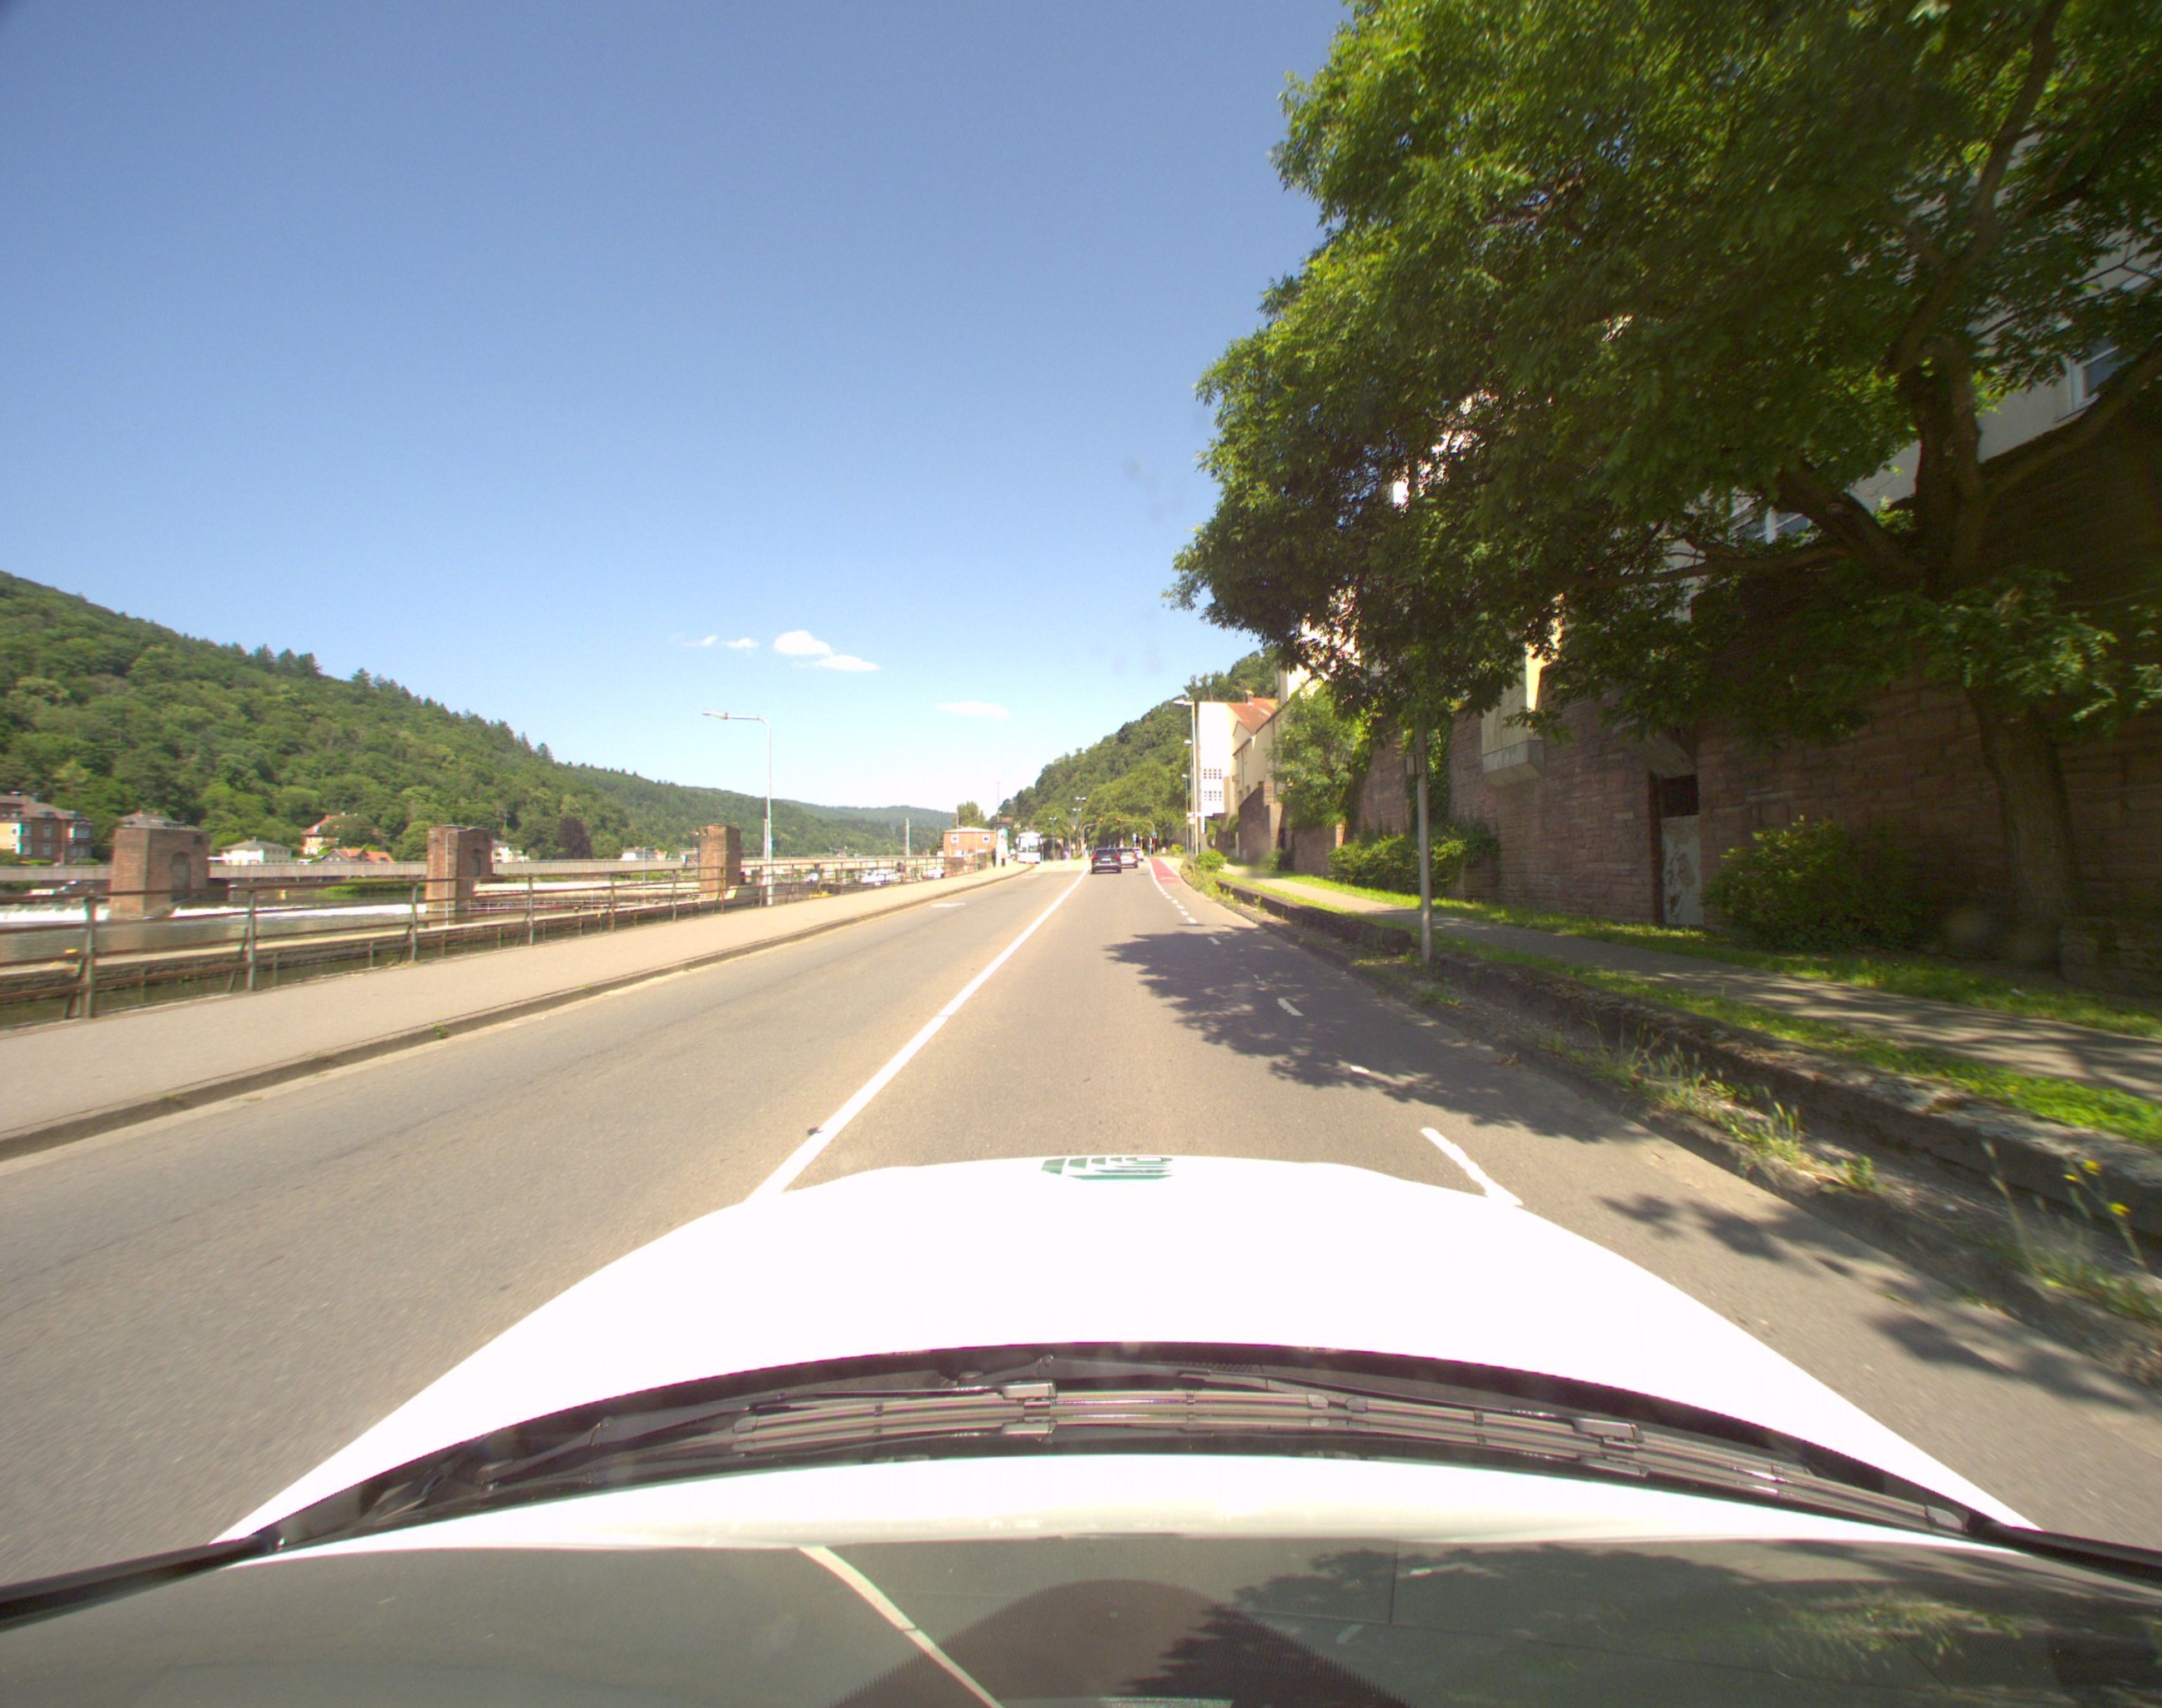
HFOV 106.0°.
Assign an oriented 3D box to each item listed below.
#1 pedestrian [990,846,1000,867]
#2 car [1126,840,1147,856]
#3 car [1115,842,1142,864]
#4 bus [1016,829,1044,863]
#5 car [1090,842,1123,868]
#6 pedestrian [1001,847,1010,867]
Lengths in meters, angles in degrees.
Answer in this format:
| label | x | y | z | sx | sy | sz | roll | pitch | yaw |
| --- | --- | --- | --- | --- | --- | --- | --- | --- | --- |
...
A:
| label | x | y | z | sx | sy | sz | roll | pitch | yaw |
| --- | --- | --- | --- | --- | --- | --- | --- | --- | --- |
| pedestrian | -7.121 | 0.199 | 67.583 | 0.680 | 1.709 | 0.774 | -2 | 0 | 2 |
| car | 5.570 | -0.628 | 82.602 | 1.986 | 1.533 | 4.861 | -1 | 0 | 2 |
| car | 3.416 | -0.096 | 59.291 | 1.881 | 1.521 | 4.308 | -1 | 0 | 2 |
| bus | -6.078 | -0.869 | 98.464 | 2.950 | 3.800 | 13.229 | -2 | 0 | -3 |
| car | 1.551 | 0.054 | 49.055 | 1.862 | 1.514 | 4.153 | -1 | 0 | 2 |
| pedestrian | -6.463 | 0.251 | 69.781 | 0.700 | 1.621 | 0.817 | -2 | 0 | 0 |
